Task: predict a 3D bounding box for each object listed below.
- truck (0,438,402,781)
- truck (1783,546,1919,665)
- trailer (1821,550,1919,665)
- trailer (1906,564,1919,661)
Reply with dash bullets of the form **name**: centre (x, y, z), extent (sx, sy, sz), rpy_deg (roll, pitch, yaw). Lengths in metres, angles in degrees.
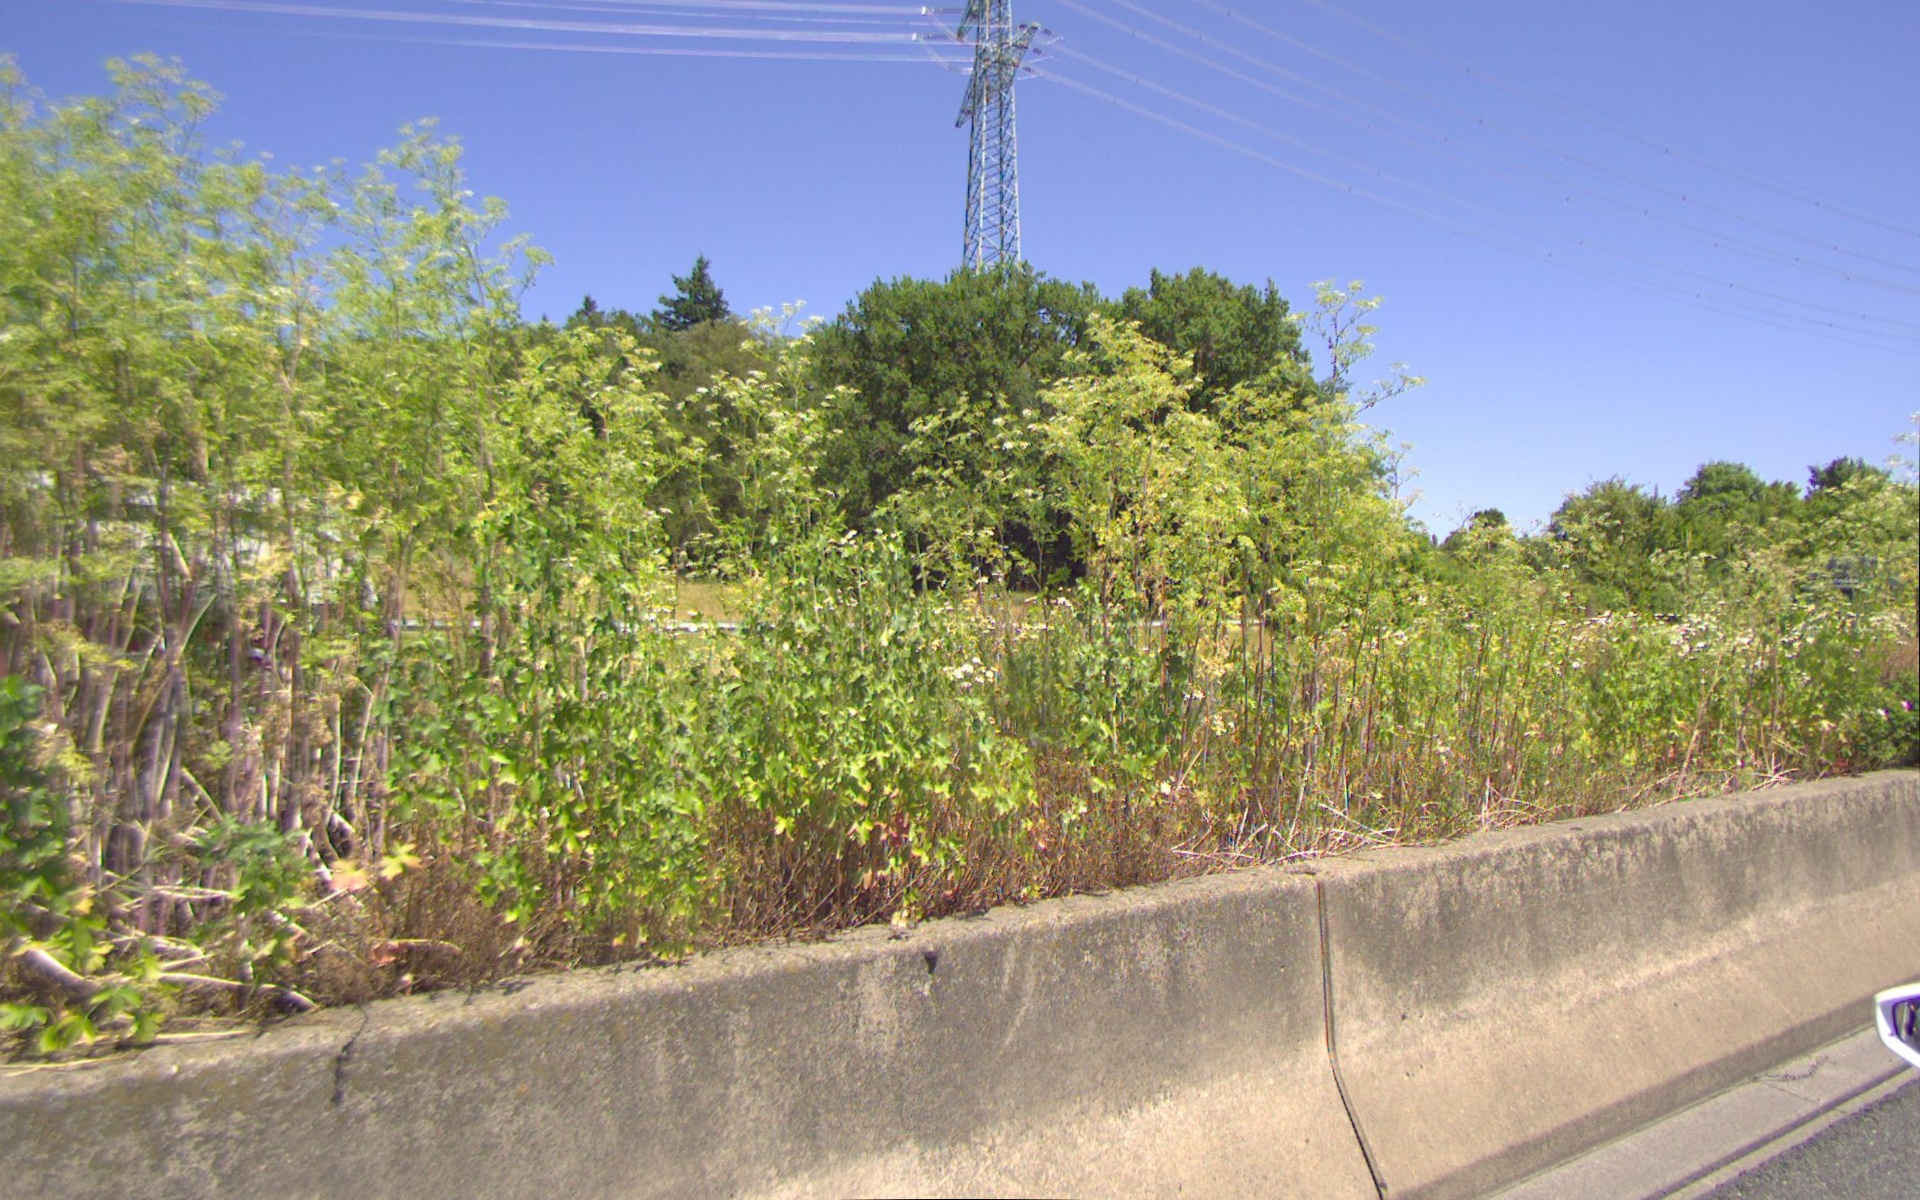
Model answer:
- **truck**: centre (-12.162, 0.043, 9.742), extent (11.674, 3.332, 2.753), rpy_deg (2, -1, -29)
- **truck**: centre (31.081, 0.246, 34.197), extent (5.399, 3.759, 3.057), rpy_deg (1, -1, -30)
- **trailer**: centre (34.788, 0.349, 36.405), extent (7.777, 3.809, 3.110), rpy_deg (2, -1, -30)
- **trailer**: centre (41.601, 0.569, 40.313), extent (8.104, 3.811, 3.168), rpy_deg (1, -1, -30)
